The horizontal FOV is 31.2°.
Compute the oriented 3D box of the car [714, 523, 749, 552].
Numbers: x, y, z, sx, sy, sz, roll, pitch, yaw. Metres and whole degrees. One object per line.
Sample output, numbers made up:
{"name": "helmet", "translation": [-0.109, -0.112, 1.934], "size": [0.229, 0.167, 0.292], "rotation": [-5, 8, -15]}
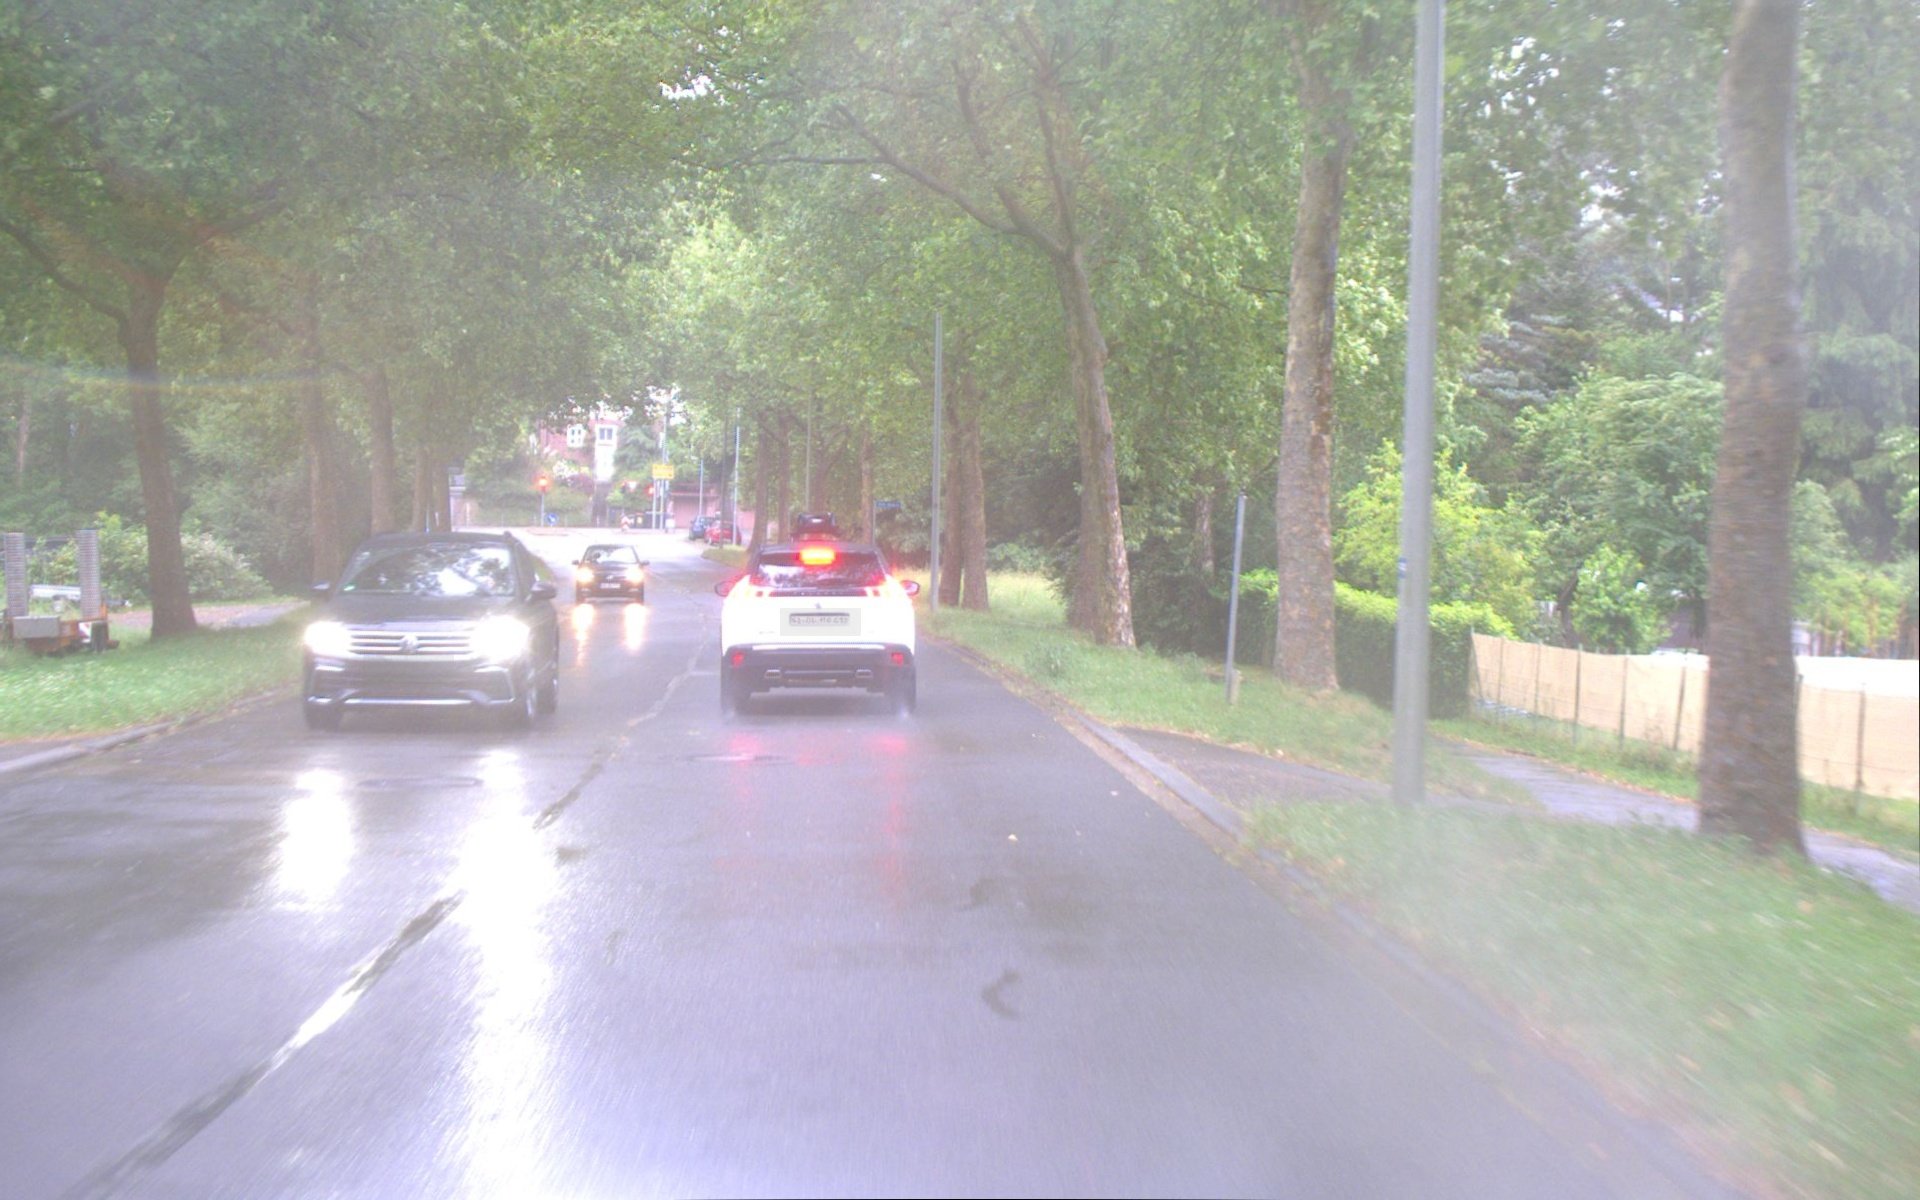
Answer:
{"name": "car", "translation": [-12.904, -3.556, 194.485], "size": [1.827, 1.590, 3.654], "rotation": [1, 1, -2]}

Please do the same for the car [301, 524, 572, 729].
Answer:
{"name": "car", "translation": [-4.390, 0.170, 29.404], "size": [1.731, 1.582, 4.311], "rotation": [1, 1, -1]}

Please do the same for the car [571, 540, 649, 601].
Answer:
{"name": "car", "translation": [-8.978, -0.770, 87.944], "size": [1.706, 1.481, 3.882], "rotation": [1, 1, -9]}

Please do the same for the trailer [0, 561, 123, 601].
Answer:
{"name": "trailer", "translation": [-26.913, -0.576, 102.861], "size": [3.552, 1.174, 1.823], "rotation": [0, 1, -11]}

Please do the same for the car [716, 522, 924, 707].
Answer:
{"name": "car", "translation": [-1.273, 0.084, 32.105], "size": [1.793, 1.573, 3.845], "rotation": [1, 1, -1]}

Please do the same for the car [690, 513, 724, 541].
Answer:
{"name": "car", "translation": [-15.036, -4.352, 204.046], "size": [1.827, 1.590, 3.654], "rotation": [1, 1, -2]}

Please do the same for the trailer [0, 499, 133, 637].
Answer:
{"name": "trailer", "translation": [-17.925, -0.657, 67.188], "size": [2.484, 2.558, 5.333], "rotation": [1, 1, -4]}
